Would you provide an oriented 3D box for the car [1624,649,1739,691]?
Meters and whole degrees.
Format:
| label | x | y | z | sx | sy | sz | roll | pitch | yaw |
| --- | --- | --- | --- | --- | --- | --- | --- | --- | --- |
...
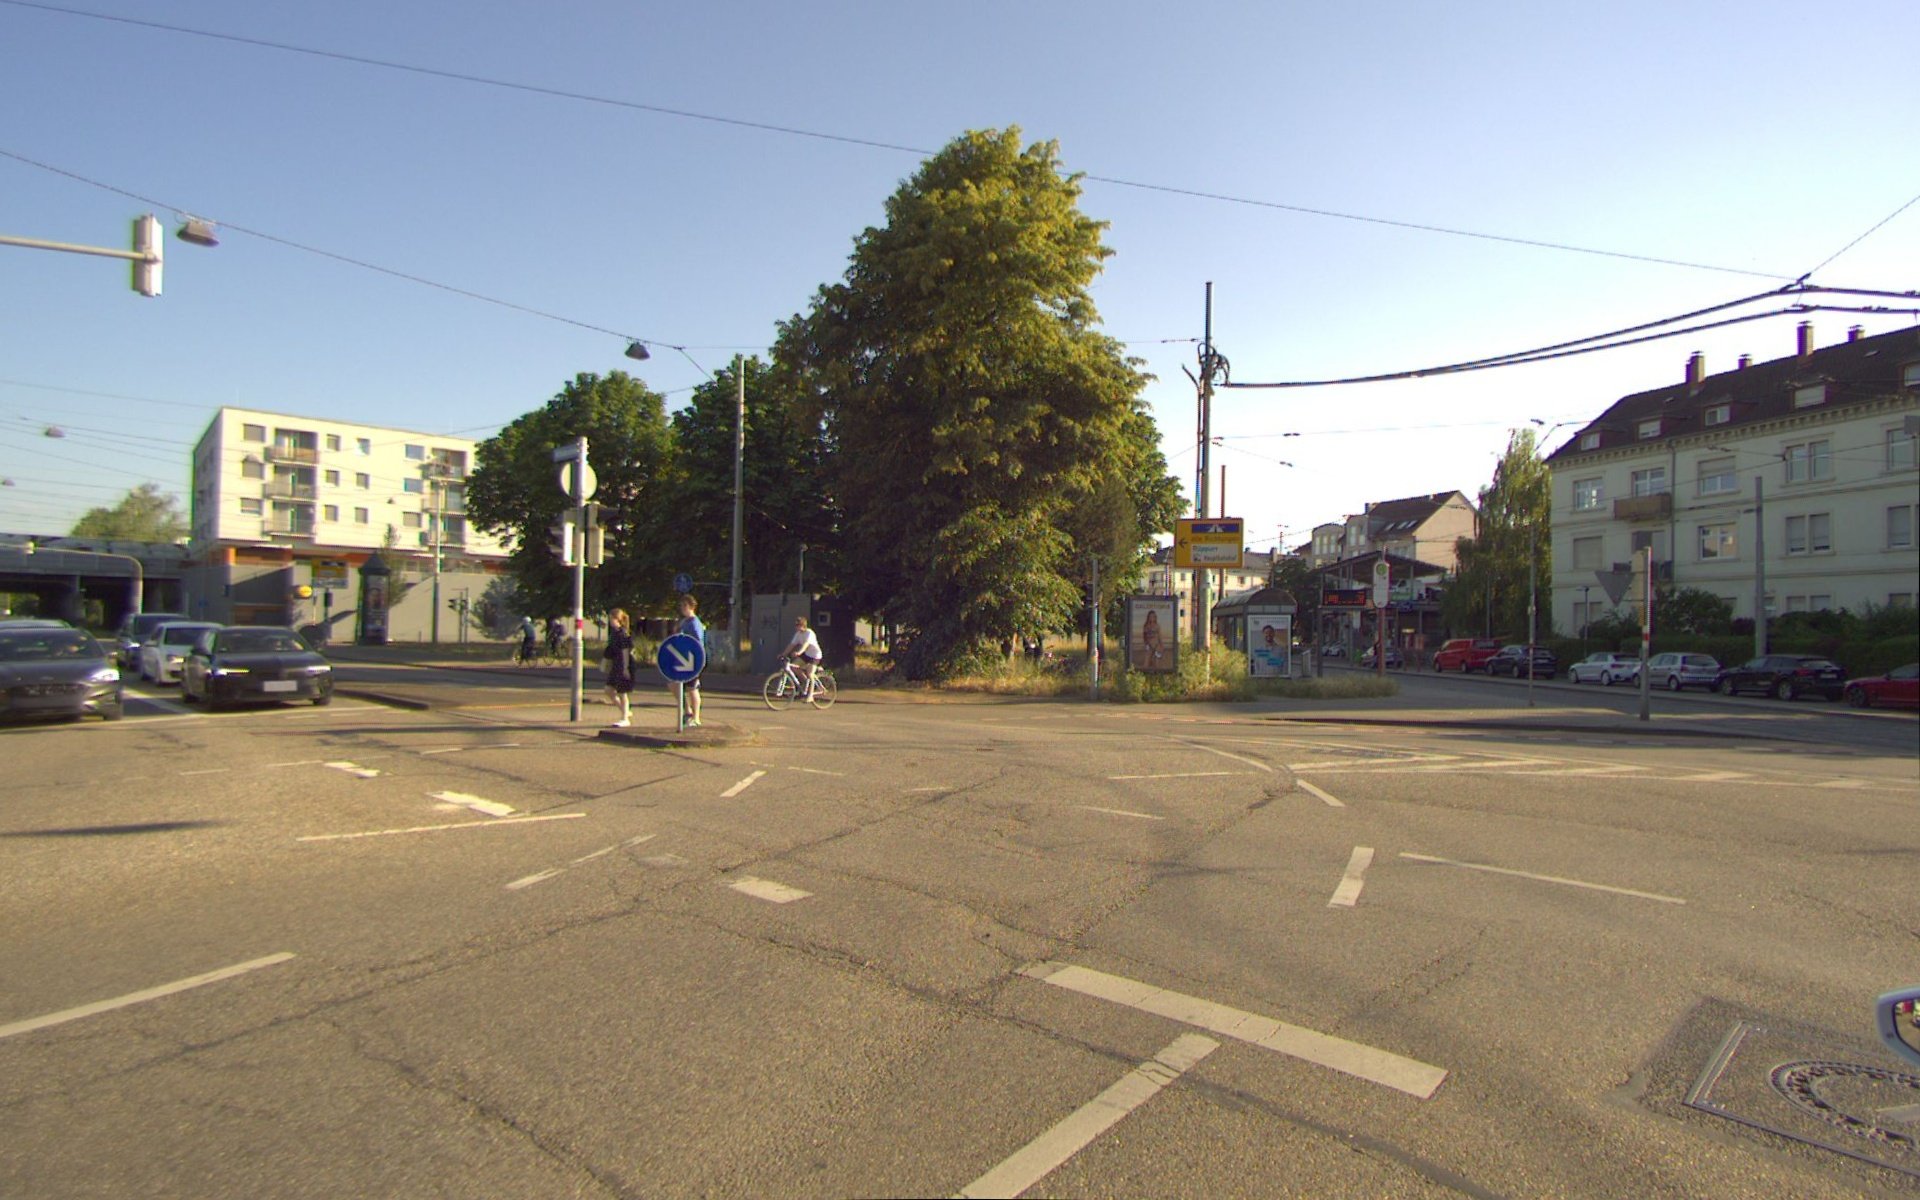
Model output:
| label | x | y | z | sx | sy | sz | roll | pitch | yaw |
| --- | --- | --- | --- | --- | --- | --- | --- | --- | --- |
| car | 28.096 | 2.708 | 39.265 | 1.947 | 1.466 | 3.721 | -1 | -2 | 3 |

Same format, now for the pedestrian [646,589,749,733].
| label | x | y | z | sx | sy | sz | roll | pitch | yaw |
| --- | --- | --- | --- | --- | --- | --- | --- | --- | --- |
| pedestrian | -3.740 | 0.845 | 14.328 | 0.901 | 1.950 | 1.062 | 0 | -2 | 41 |

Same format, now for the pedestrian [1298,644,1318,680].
| label | x | y | z | sx | sy | sz | roll | pitch | yaw |
| --- | --- | --- | --- | --- | --- | --- | --- | --- | --- |
| pedestrian | 14.008 | 2.496 | 40.406 | 0.586 | 1.445 | 0.505 | 1 | -2 | -5 |

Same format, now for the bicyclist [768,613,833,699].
| label | x | y | z | sx | sy | sz | roll | pitch | yaw |
| --- | --- | --- | --- | --- | --- | --- | --- | --- | --- |
| bicyclist | -3.185 | 1.106 | 20.090 | 1.035 | 1.650 | 0.704 | 3 | -2 | -44 |

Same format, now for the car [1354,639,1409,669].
| label | x | y | z | sx | sy | sz | roll | pitch | yaw |
| --- | --- | --- | --- | --- | --- | --- | --- | --- | --- |
| car | 30.294 | 3.850 | 72.352 | 2.015 | 1.987 | 5.153 | -1 | -2 | 3 |

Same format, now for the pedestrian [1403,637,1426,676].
| label | x | y | z | sx | sy | sz | roll | pitch | yaw |
| --- | --- | --- | --- | --- | --- | --- | --- | --- | --- |
| pedestrian | 24.252 | 2.996 | 53.595 | 0.905 | 2.040 | 0.769 | 1 | -2 | 8 |

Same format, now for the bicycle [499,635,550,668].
| label | x | y | z | sx | sy | sz | roll | pitch | yaw |
| --- | --- | --- | --- | --- | --- | --- | --- | --- | --- |
| bicycle | -15.066 | 1.770 | 34.704 | 1.986 | 1.083 | 0.661 | 0 | -2 | 35 |

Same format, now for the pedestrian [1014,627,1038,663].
| label | x | y | z | sx | sy | sz | roll | pitch | yaw |
| --- | --- | --- | --- | --- | --- | --- | --- | --- | --- |
| pedestrian | 2.836 | 1.927 | 43.101 | 0.663 | 1.512 | 0.843 | 2 | -2 | -30 |

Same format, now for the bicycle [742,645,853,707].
| label | x | y | z | sx | sy | sz | roll | pitch | yaw |
| --- | --- | --- | --- | --- | --- | --- | --- | --- | --- |
| bicycle | -3.211 | 1.486 | 20.047 | 0.691 | 1.157 | 2.188 | 0 | -2 | 45 |

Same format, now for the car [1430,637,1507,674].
| label | x | y | z | sx | sy | sz | roll | pitch | yaw |
| --- | --- | --- | --- | --- | --- | --- | --- | --- | --- |
| car | 29.311 | 3.139 | 58.061 | 2.015 | 1.987 | 5.153 | -1 | -2 | 3 |

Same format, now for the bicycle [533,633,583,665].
| label | x | y | z | sx | sy | sz | roll | pitch | yaw |
| --- | --- | --- | --- | --- | --- | --- | --- | --- | --- |
| bicycle | -14.447 | 1.737 | 36.070 | 1.985 | 1.083 | 0.662 | 0 | -2 | 34 |

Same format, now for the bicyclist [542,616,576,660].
| label | x | y | z | sx | sy | sz | roll | pitch | yaw |
| --- | --- | --- | --- | --- | --- | --- | --- | --- | --- |
| bicyclist | -14.382 | 1.357 | 36.025 | 1.020 | 1.552 | 0.659 | 0 | -2 | 34 |

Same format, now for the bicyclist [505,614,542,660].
| label | x | y | z | sx | sy | sz | roll | pitch | yaw |
| --- | --- | --- | --- | --- | --- | --- | --- | --- | --- |
| bicyclist | -15.070 | 1.283 | 34.707 | 1.020 | 1.552 | 0.696 | 0 | -2 | 34 |

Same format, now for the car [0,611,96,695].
| label | x | y | z | sx | sy | sz | roll | pitch | yaw |
| --- | --- | --- | --- | --- | --- | --- | --- | --- | --- |
| car | -19.289 | 1.022 | 20.680 | 1.987 | 1.587 | 4.219 | 3 | -2 | -44 |

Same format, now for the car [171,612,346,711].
| label | x | y | z | sx | sy | sz | roll | pitch | yaw |
| --- | --- | --- | --- | --- | --- | --- | --- | --- | --- |
| car | -13.033 | 1.047 | 18.558 | 2.039 | 1.587 | 4.394 | 3 | -2 | -43 |

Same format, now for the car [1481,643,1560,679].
| label | x | y | z | sx | sy | sz | roll | pitch | yaw |
| --- | --- | --- | --- | --- | --- | --- | --- | --- | --- |
| car | 28.719 | 3.087 | 51.625 | 1.808 | 1.690 | 4.372 | -1 | -2 | 3 |

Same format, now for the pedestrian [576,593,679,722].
| label | x | y | z | sx | sy | sz | roll | pitch | yaw |
| --- | --- | --- | --- | --- | --- | --- | --- | --- | --- |
| pedestrian | -4.780 | 0.810 | 14.451 | 0.901 | 1.770 | 1.062 | 0 | -2 | 41 |

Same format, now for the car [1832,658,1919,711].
| label | x | y | z | sx | sy | sz | roll | pitch | yaw |
| --- | --- | --- | --- | --- | --- | --- | --- | --- | --- |
| car | 27.930 | 2.425 | 28.644 | 1.948 | 1.394 | 4.705 | -1 | -2 | -2 |

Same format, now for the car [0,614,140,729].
| label | x | y | z | sx | sy | sz | roll | pitch | yaw |
| --- | --- | --- | --- | --- | --- | --- | --- | --- | --- |
| car | -14.515 | 1.033 | 15.919 | 1.987 | 1.587 | 4.219 | 2 | -1 | -44 |

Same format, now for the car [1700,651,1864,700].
| label | x | y | z | sx | sy | sz | roll | pitch | yaw |
| --- | --- | --- | --- | --- | --- | --- | --- | --- | --- |
| car | 28.171 | 2.558 | 34.679 | 1.947 | 1.466 | 4.708 | -1 | -2 | 3 |

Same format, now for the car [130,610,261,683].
| label | x | y | z | sx | sy | sz | roll | pitch | yaw |
| --- | --- | --- | --- | --- | --- | --- | --- | --- | --- |
| car | -18.635 | 1.078 | 24.409 | 1.987 | 1.587 | 4.398 | 3 | -2 | -44 |

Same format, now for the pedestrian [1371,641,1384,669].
| label | x | y | z | sx | sy | sz | roll | pitch | yaw |
| --- | --- | --- | --- | --- | --- | --- | --- | --- | --- |
| pedestrian | 23.297 | 3.060 | 56.024 | 0.556 | 1.520 | 0.679 | 1 | -2 | 15 |

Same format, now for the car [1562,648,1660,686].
| label | x | y | z | sx | sy | sz | roll | pitch | yaw |
| --- | --- | --- | --- | --- | --- | --- | --- | --- | --- |
| car | 28.344 | 2.892 | 43.876 | 1.808 | 1.466 | 3.961 | -1 | -2 | 3 |
